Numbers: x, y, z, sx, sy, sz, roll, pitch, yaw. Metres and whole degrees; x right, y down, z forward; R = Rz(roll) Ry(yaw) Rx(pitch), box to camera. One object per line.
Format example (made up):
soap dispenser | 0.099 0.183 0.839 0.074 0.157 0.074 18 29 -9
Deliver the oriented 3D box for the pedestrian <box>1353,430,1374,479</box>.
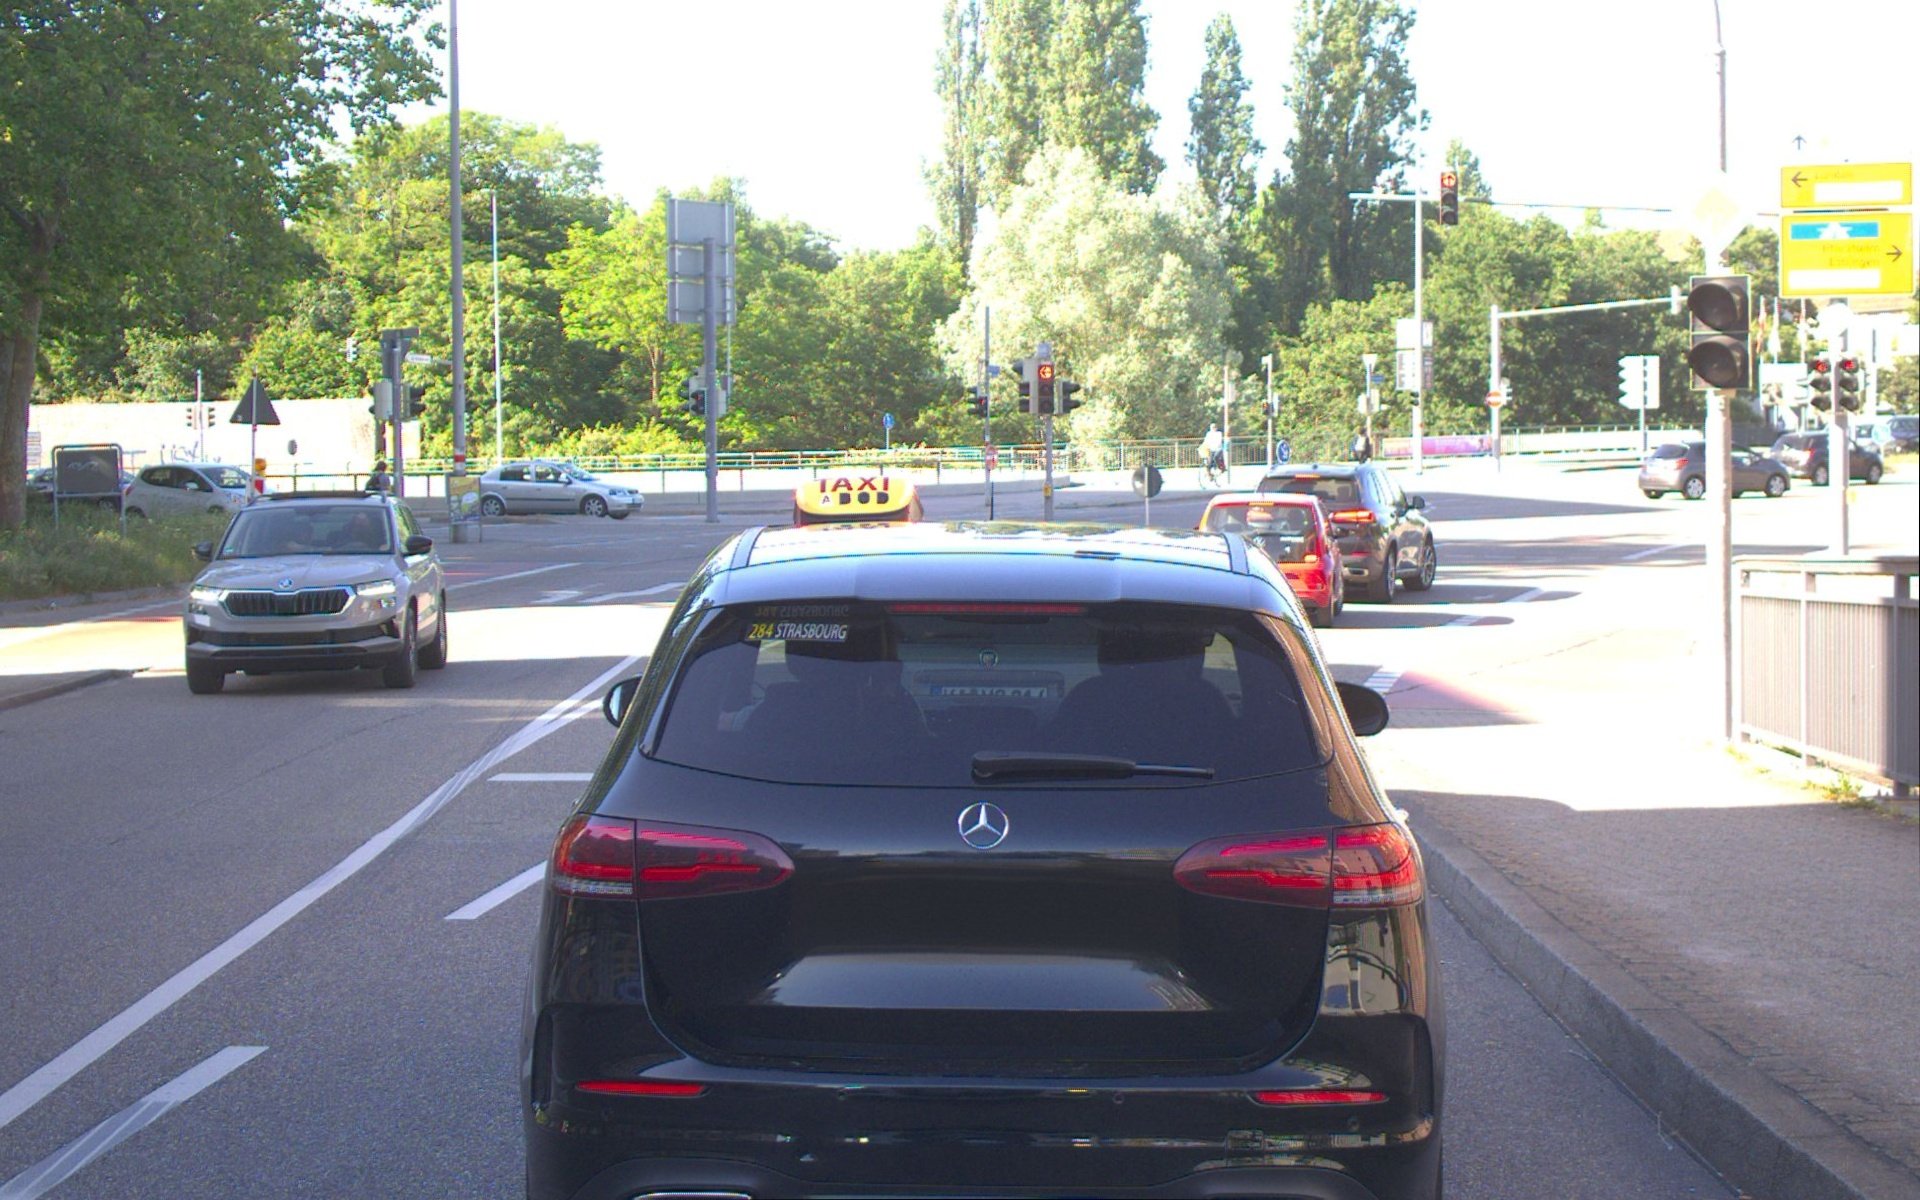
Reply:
pedestrian | 13.274 -4.797 113.180 0.451 1.580 0.500 1 3 40

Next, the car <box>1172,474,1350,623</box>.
car | 3.490 -0.628 39.398 1.722 1.516 3.485 0 4 10

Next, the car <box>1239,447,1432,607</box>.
car | 4.967 -1.003 44.996 1.723 1.805 4.295 1 5 17

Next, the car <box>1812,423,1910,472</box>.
car | 30.069 -5.107 114.664 1.882 1.573 3.992 1 3 36

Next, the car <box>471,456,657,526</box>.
car | -9.416 -2.606 81.827 3.989 1.624 1.890 0 2 13

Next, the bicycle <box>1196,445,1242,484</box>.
bicycle | 7.374 -3.860 97.917 0.526 1.046 1.987 0 3 28

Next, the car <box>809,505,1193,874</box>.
car | 0.230 0.346 16.725 1.640 1.524 3.474 -1 2 2

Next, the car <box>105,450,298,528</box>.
car | -16.731 -2.445 75.788 3.994 1.629 1.781 1 4 32

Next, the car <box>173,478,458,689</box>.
car | -5.376 -0.186 29.138 1.804 1.618 4.001 -2 2 -3

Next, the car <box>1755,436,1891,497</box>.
car | 23.876 -3.664 95.008 1.890 1.542 3.990 1 1 44

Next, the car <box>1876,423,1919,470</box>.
car | 33.559 -5.372 119.818 1.882 1.573 3.992 1 3 36

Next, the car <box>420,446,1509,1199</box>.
car | -0.017 0.494 7.987 1.878 1.608 4.000 1 2 -1

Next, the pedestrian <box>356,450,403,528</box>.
pedestrian | -11.474 -2.202 67.987 0.705 1.520 0.743 1 2 10

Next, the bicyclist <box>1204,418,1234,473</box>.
bicyclist | 7.371 -4.390 97.885 0.526 1.545 0.806 -1 2 28

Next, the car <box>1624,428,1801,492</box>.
car | 18.574 -3.442 84.869 3.986 1.492 1.745 -1 1 -21
